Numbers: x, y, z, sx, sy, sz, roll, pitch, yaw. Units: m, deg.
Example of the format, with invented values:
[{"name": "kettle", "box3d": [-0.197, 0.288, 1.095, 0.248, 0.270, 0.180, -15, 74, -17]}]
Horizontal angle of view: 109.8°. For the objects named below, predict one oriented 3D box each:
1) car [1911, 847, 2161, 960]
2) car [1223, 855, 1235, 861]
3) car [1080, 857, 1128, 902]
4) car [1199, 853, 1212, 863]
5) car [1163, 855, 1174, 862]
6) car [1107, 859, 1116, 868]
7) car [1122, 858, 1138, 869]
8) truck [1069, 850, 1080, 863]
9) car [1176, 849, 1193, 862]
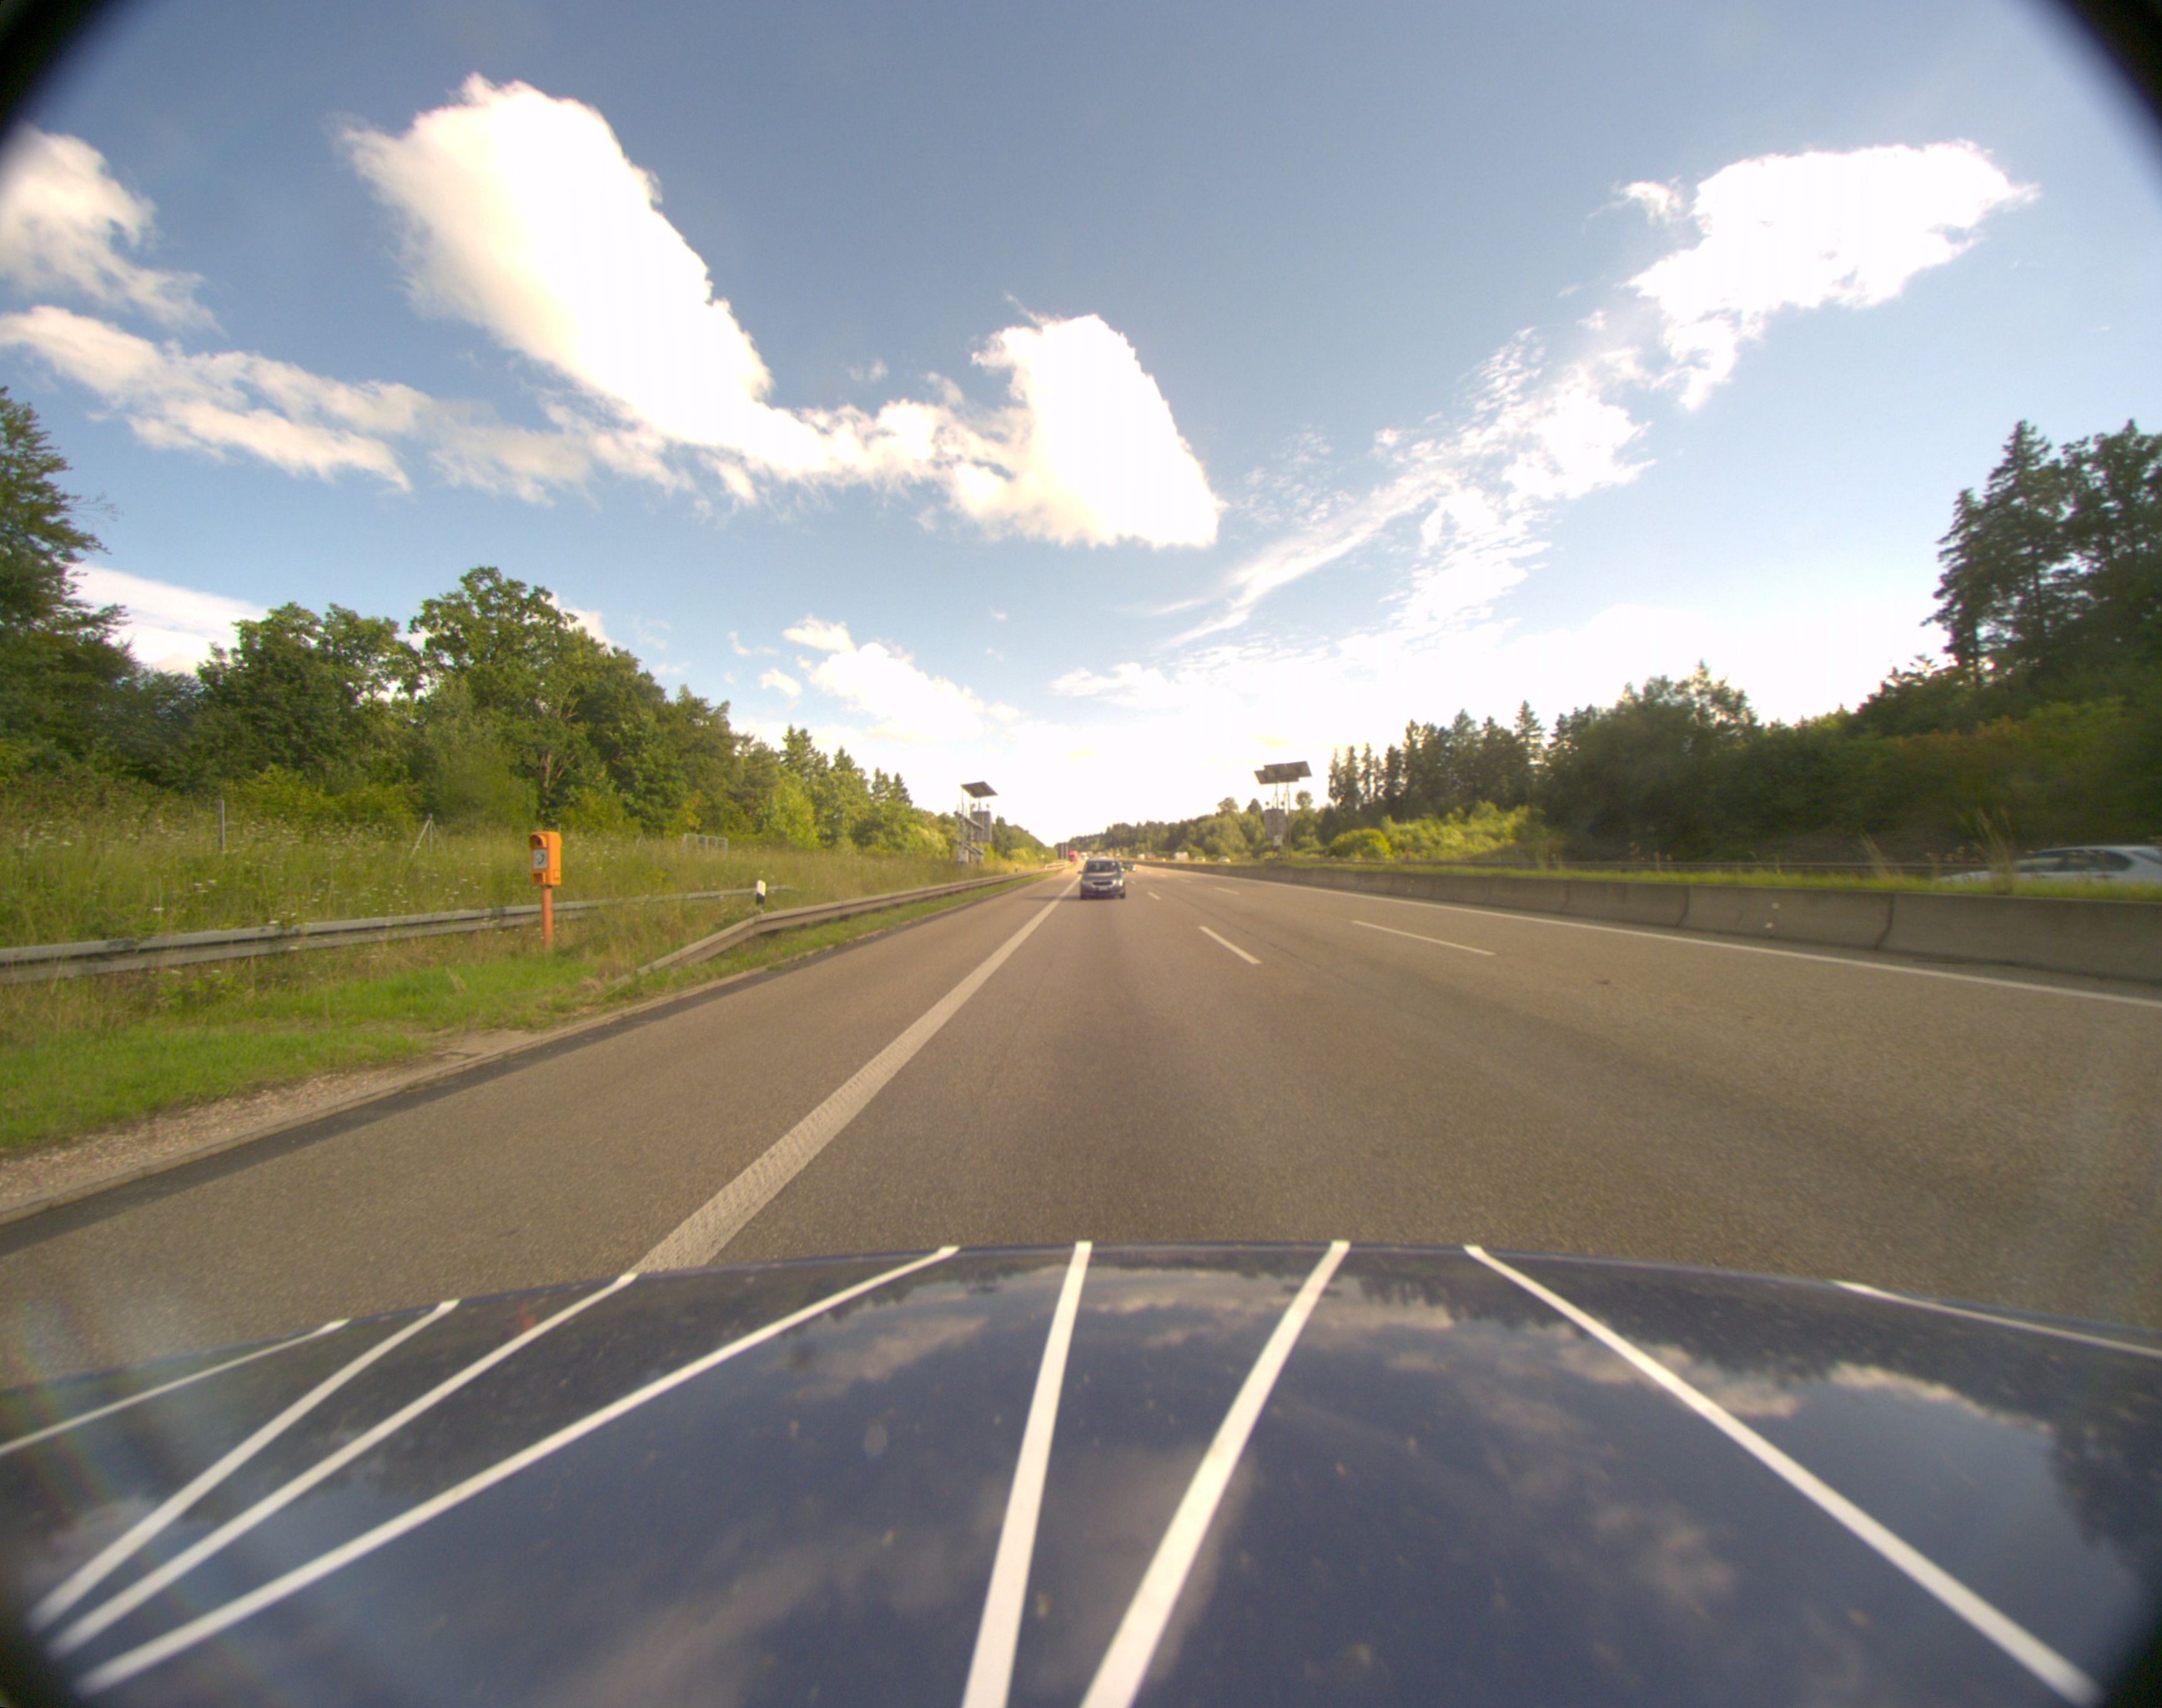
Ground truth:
[{"name": "car", "box3d": [19.388, 0.834, 14.648, 1.931, 1.894, 4.430, -2, 0, 1]}, {"name": "car", "box3d": [26.790, 0.729, 137.609, 1.595, 1.087, 3.173, -1, 0, 2]}, {"name": "car", "box3d": [0.920, 0.965, 30.398, 1.741, 1.608, 4.083, -2, 0, 2]}, {"name": "car", "box3d": [23.693, 0.825, 144.755, 1.929, 1.795, 4.493, -2, 0, 2]}, {"name": "car", "box3d": [25.411, 1.272, 220.455, 2.585, 2.126, 5.966, -1, 0, 2]}, {"name": "car", "box3d": [7.296, 2.201, 182.946, 1.998, 2.002, 4.000, -1, 0, 1]}, {"name": "car", "box3d": [5.929, 1.097, 92.285, 1.748, 1.276, 4.199, -2, 0, 2]}, {"name": "truck", "box3d": [-2.074, 0.861, 245.279, 2.880, 3.871, 8.959, -2, 0, 1]}, {"name": "car", "box3d": [19.320, 0.301, 142.142, 2.585, 2.332, 5.830, -1, 0, 2]}]
